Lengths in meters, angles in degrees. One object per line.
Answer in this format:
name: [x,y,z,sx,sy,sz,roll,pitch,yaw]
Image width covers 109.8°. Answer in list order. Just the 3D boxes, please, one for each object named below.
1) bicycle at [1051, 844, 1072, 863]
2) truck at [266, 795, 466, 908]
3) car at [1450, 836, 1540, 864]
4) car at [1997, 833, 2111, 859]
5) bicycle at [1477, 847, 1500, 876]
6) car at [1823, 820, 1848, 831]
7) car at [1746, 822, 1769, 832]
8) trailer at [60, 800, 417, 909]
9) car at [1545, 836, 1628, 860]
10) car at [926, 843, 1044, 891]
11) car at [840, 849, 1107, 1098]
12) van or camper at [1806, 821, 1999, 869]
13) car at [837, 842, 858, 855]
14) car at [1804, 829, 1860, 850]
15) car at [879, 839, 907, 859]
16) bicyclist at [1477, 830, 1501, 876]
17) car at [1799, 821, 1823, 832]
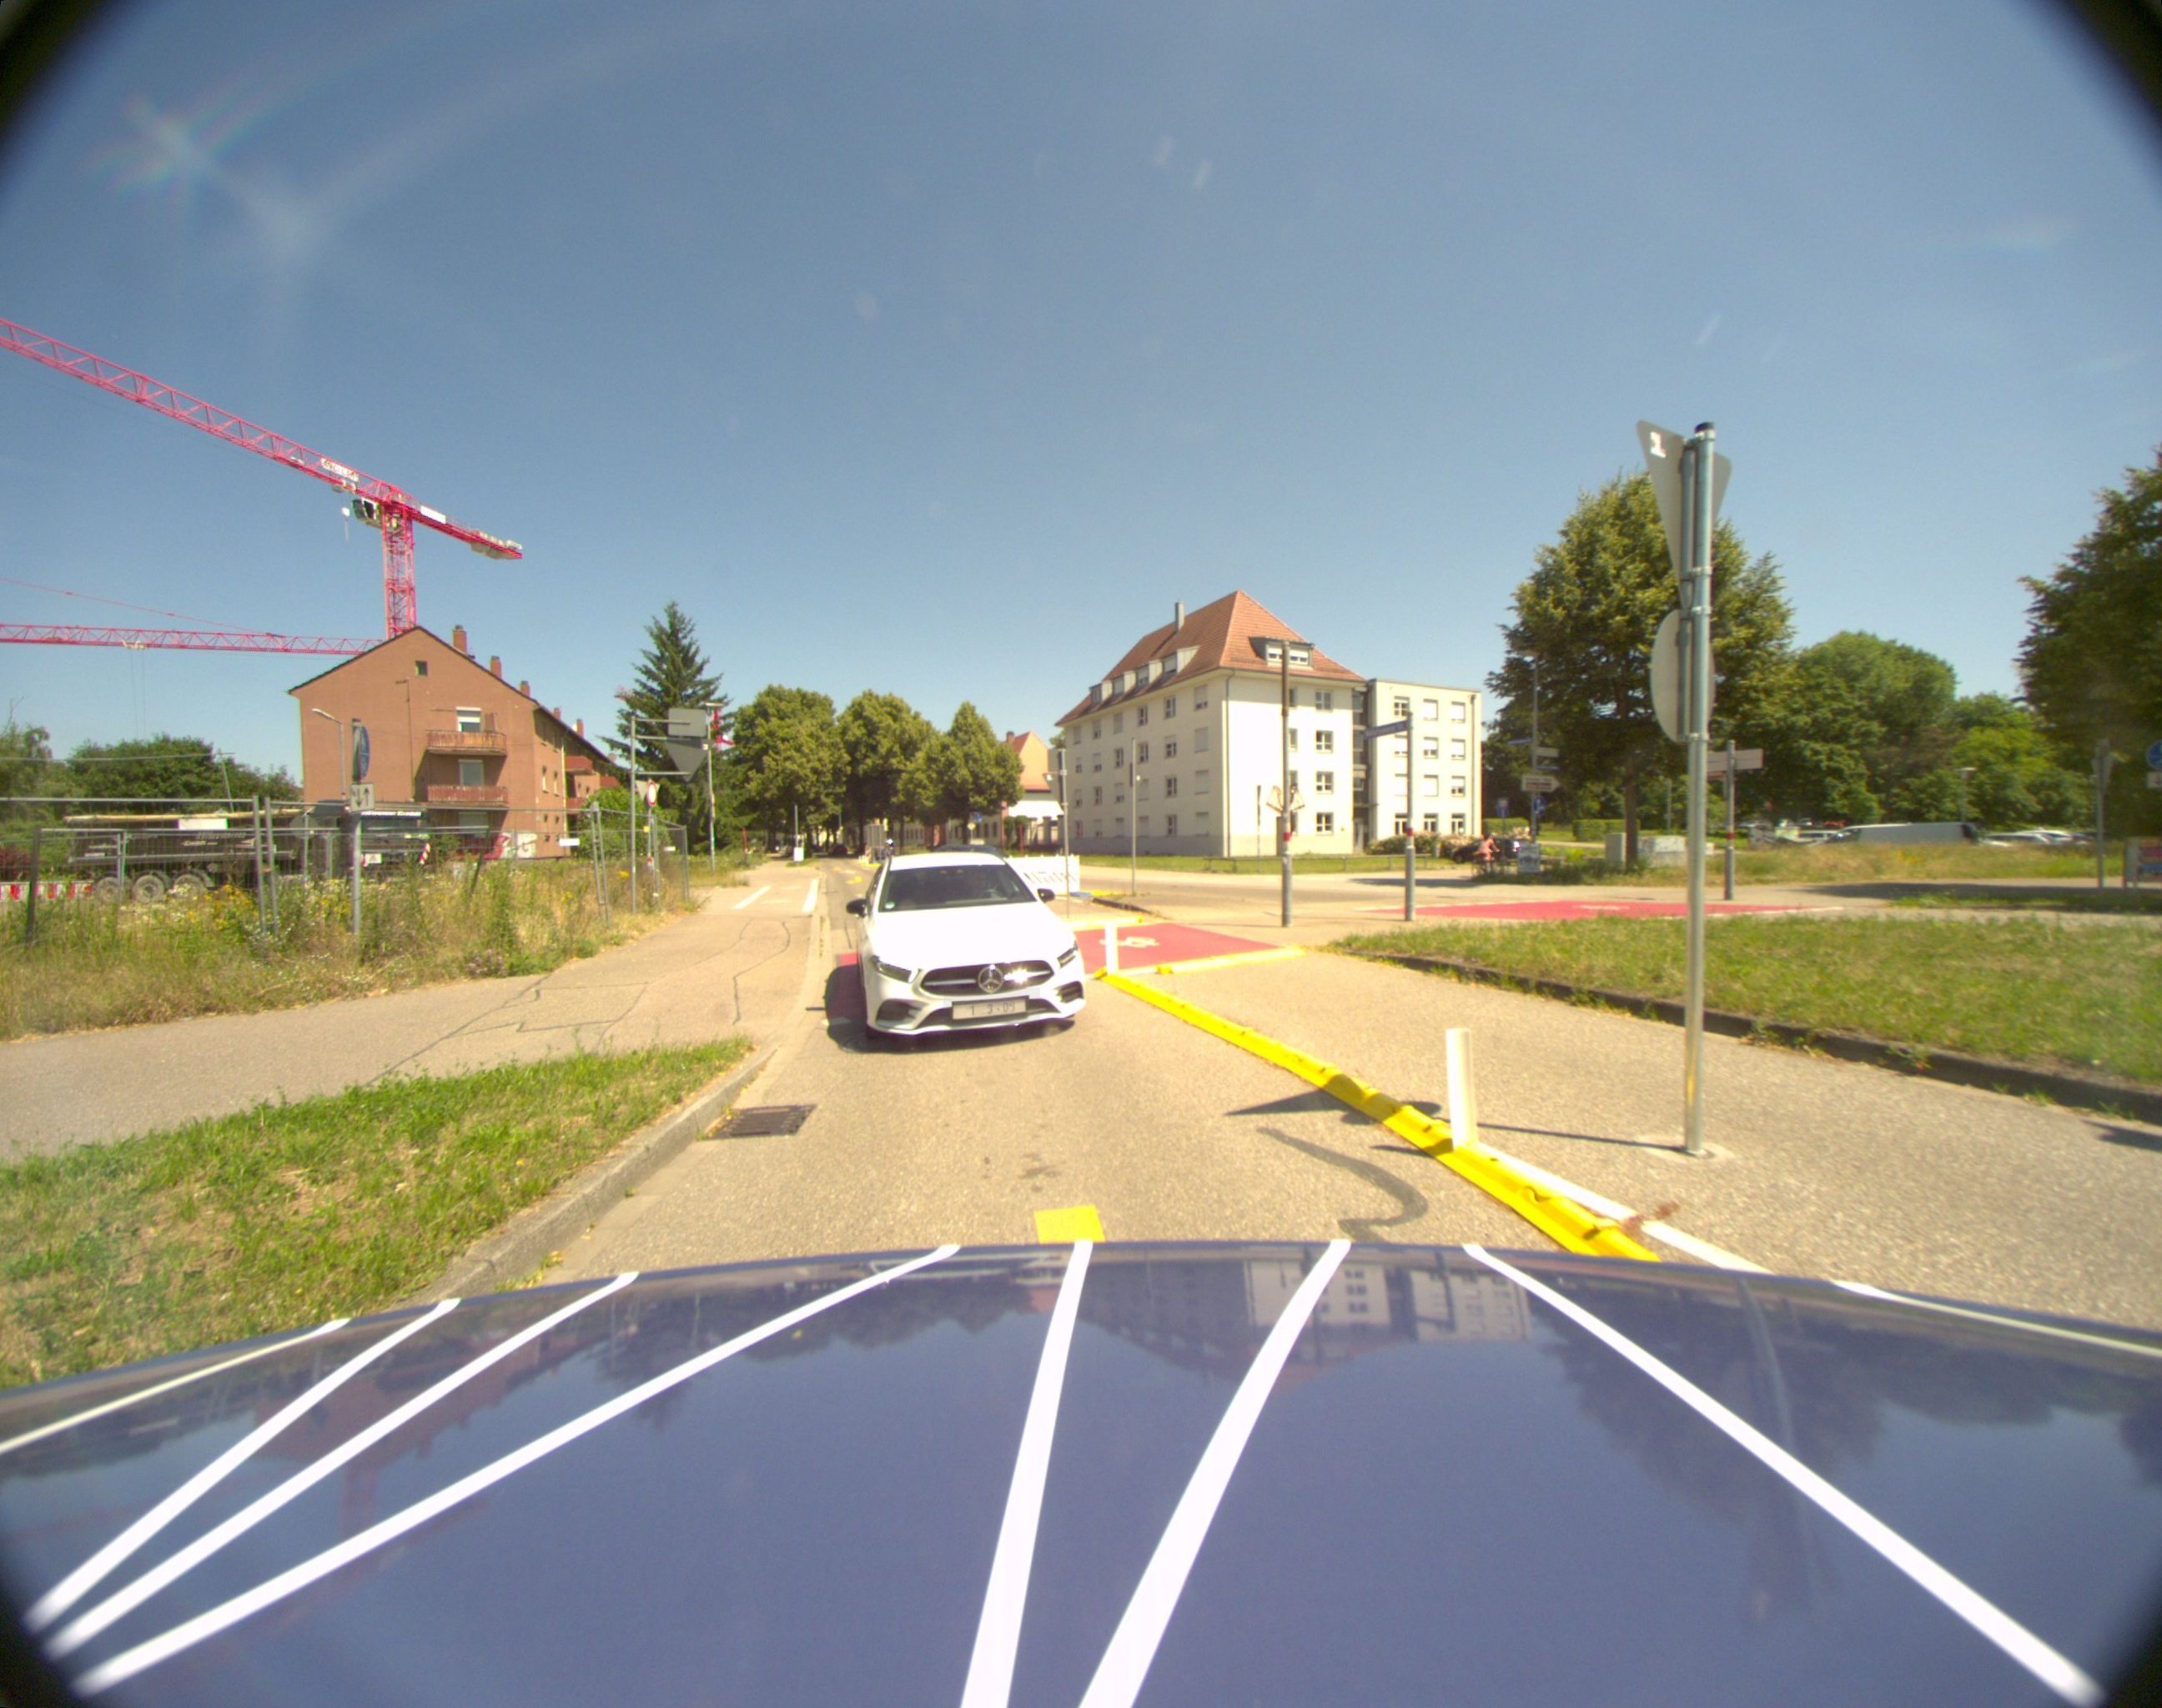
bicycle: [-1.205,-0.046,46.465,0.710,1.019,1.981,-4,3,-18]
truck: [-24.458,-0.085,26.072,4.952,3.513,3.169,0,2,24]
car: [21.141,-0.230,38.935,1.661,1.319,3.799,-2,1,-24]
car: [50.684,-0.438,39.664,1.357,1.274,3.377,-1,1,-17]
bicycle: [15.089,0.297,28.101,0.438,1.051,2.093,-1,-2,36]
car: [97.693,-3.657,98.369,3.032,1.408,1.475,-2,2,-29]
car: [93.639,-3.746,105.211,3.032,1.408,1.475,-2,2,-29]
trailer: [-29.658,-0.012,27.098,8.986,3.513,3.164,-1,1,0]
car: [26.991,-0.347,40.704,1.358,1.210,3.506,-2,1,-24]
car: [-3.407,0.406,26.267,1.804,1.443,4.605,-5,3,-39]
car: [-1.281,0.793,7.257,1.782,1.537,3.956,-5,2,-17]
van or camper: [34.999,-0.402,32.599,2.002,1.847,5.261,-2,1,-25]
car: [-27.620,-0.668,89.865,1.646,1.374,3.881,-2,1,-28]
car: [52.282,-1.007,52.919,1.084,1.350,2.524,-2,1,-18]
car: [-16.896,-0.465,68.186,1.691,1.759,4.195,0,1,-23]
bicyclist: [15.135,-0.032,28.166,0.644,1.653,0.711,-3,-3,36]
car: [96.627,-3.688,100.590,3.032,1.408,1.475,-2,2,-29]
